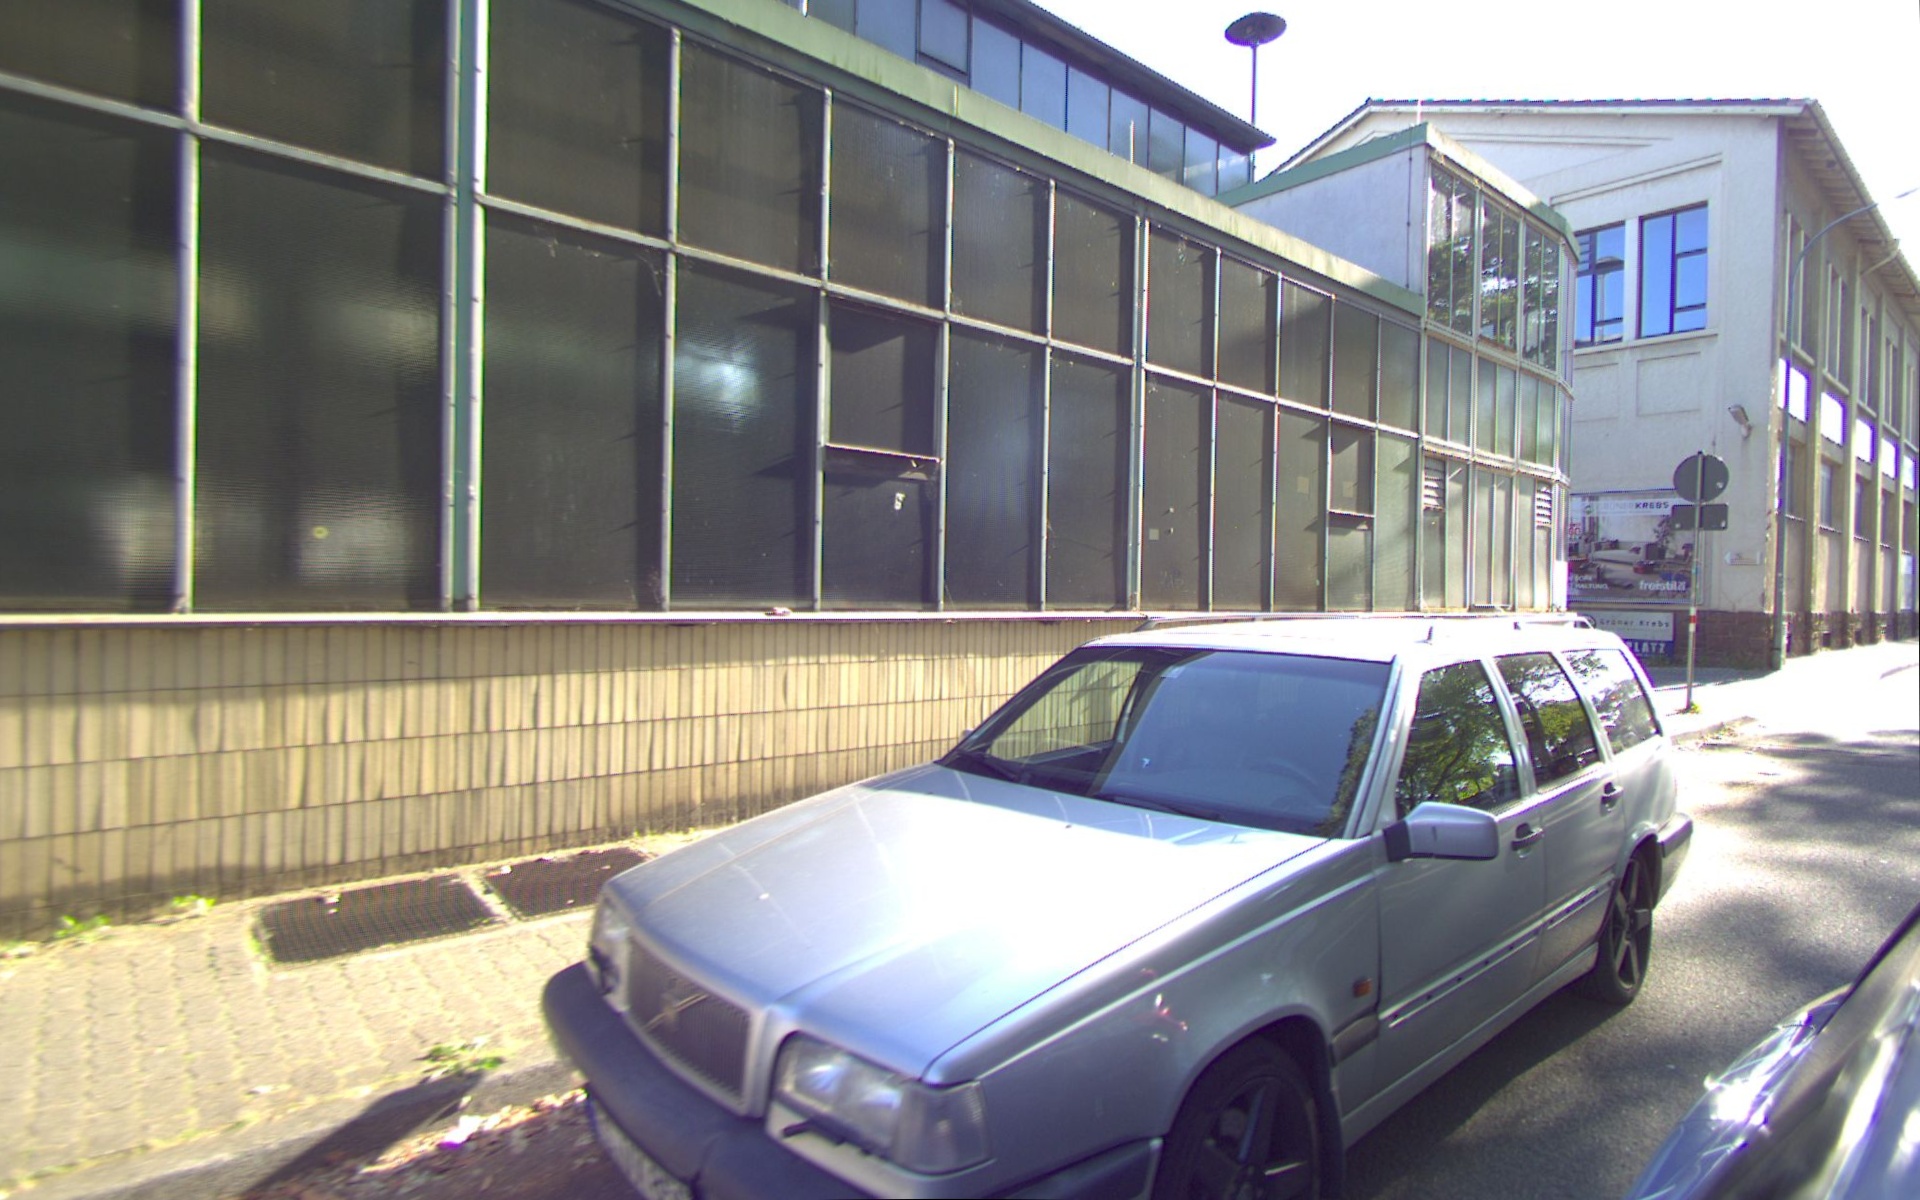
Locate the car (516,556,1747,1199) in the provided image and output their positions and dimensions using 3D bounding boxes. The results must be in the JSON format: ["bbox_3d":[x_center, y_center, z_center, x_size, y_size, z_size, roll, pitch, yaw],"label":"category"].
[{"bbox_3d":[1.078,0.679,3.523,4.452,1.512,1.902,-1,0,-43],"label":"car"}]
